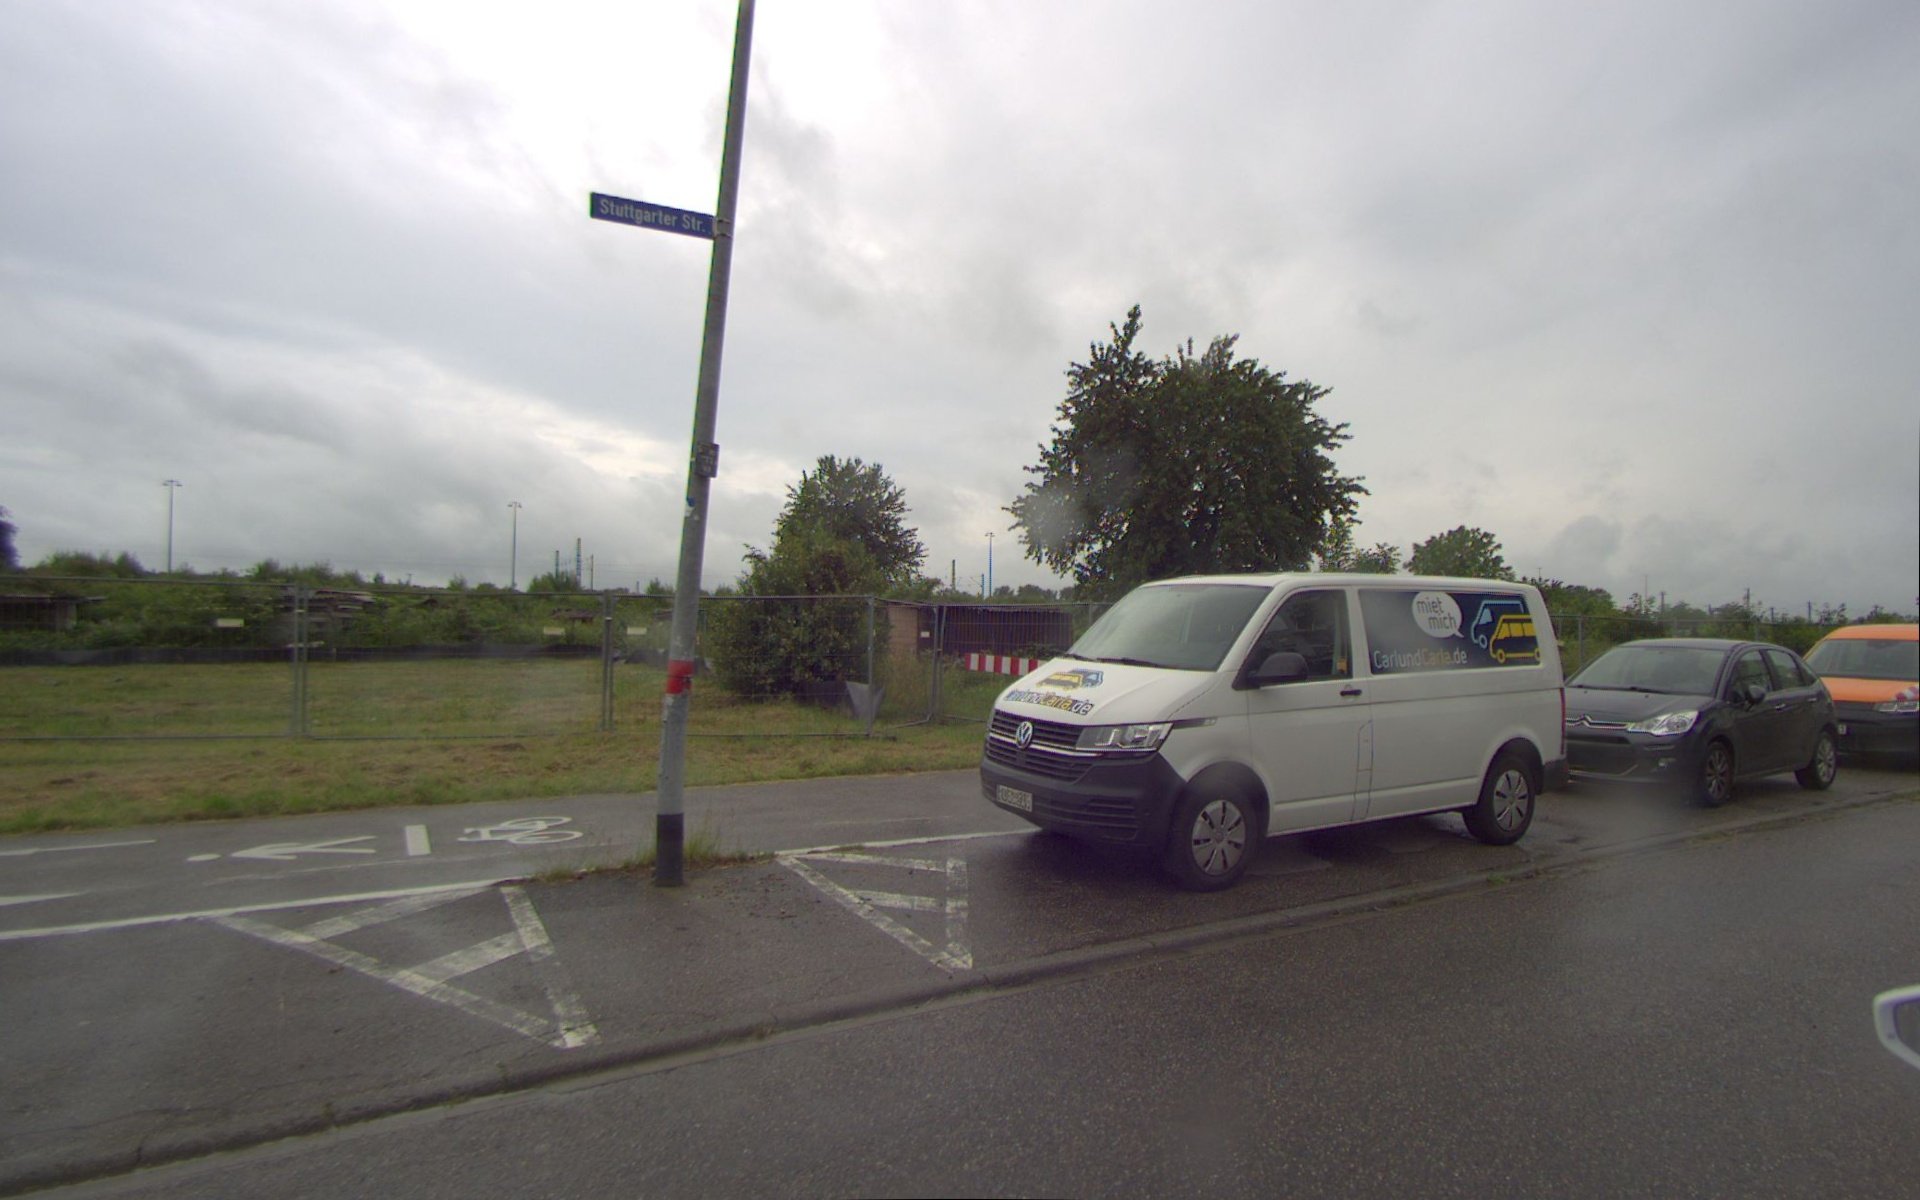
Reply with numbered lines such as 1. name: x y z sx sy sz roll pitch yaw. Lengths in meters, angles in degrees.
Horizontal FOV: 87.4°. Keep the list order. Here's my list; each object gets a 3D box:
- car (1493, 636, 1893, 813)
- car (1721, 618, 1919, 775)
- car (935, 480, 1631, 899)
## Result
1. car: 7.899 1.172 10.687 4.835 1.521 1.676 2 -2 -31
2. car: 12.296 1.179 13.318 4.277 1.790 1.932 2 -2 -28
3. car: 2.666 0.564 7.687 5.493 2.265 1.933 1 -2 -31
